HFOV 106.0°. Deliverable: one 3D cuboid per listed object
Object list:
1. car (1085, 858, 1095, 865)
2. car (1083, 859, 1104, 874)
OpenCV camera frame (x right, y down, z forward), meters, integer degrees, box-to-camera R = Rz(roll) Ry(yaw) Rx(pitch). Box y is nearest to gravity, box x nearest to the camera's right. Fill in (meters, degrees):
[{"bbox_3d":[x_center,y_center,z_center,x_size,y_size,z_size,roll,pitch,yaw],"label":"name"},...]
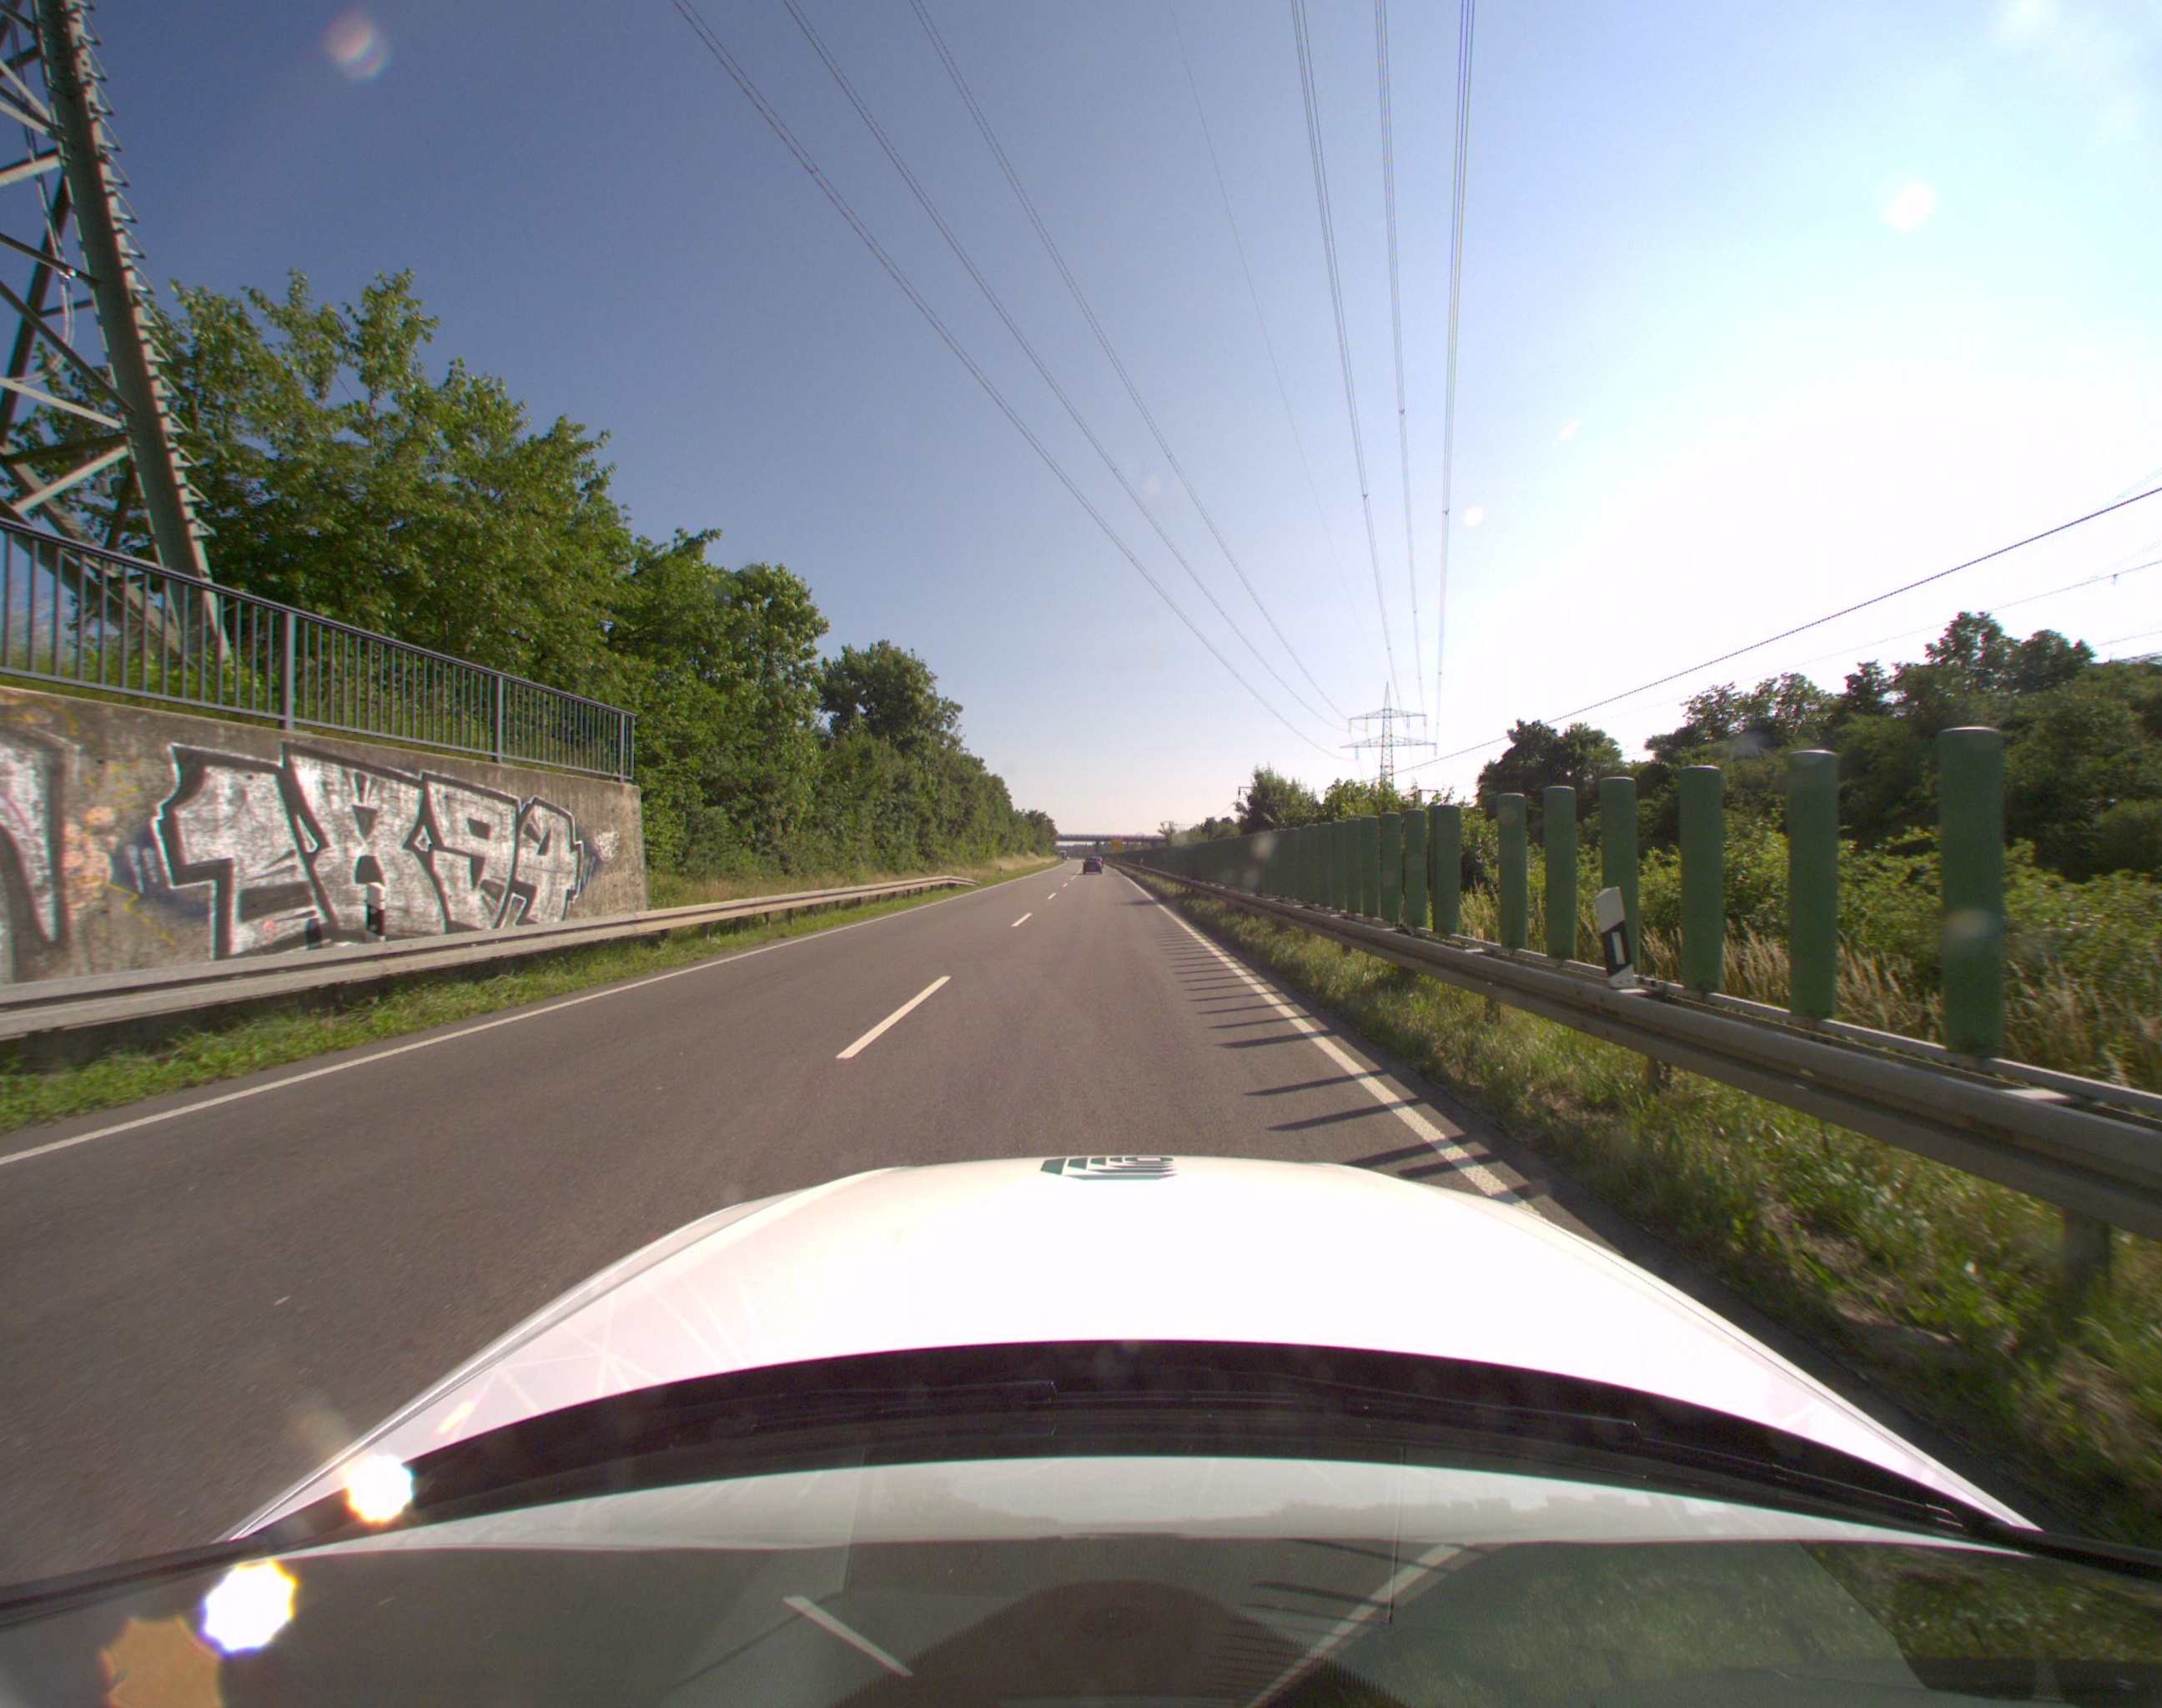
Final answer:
[{"bbox_3d":[1.707,1.464,161.487,1.889,1.418,3.998,0,-1,-1],"label":"car"},{"bbox_3d":[1.052,1.045,71.113,1.658,1.261,3.998,0,-1,-1],"label":"car"}]
